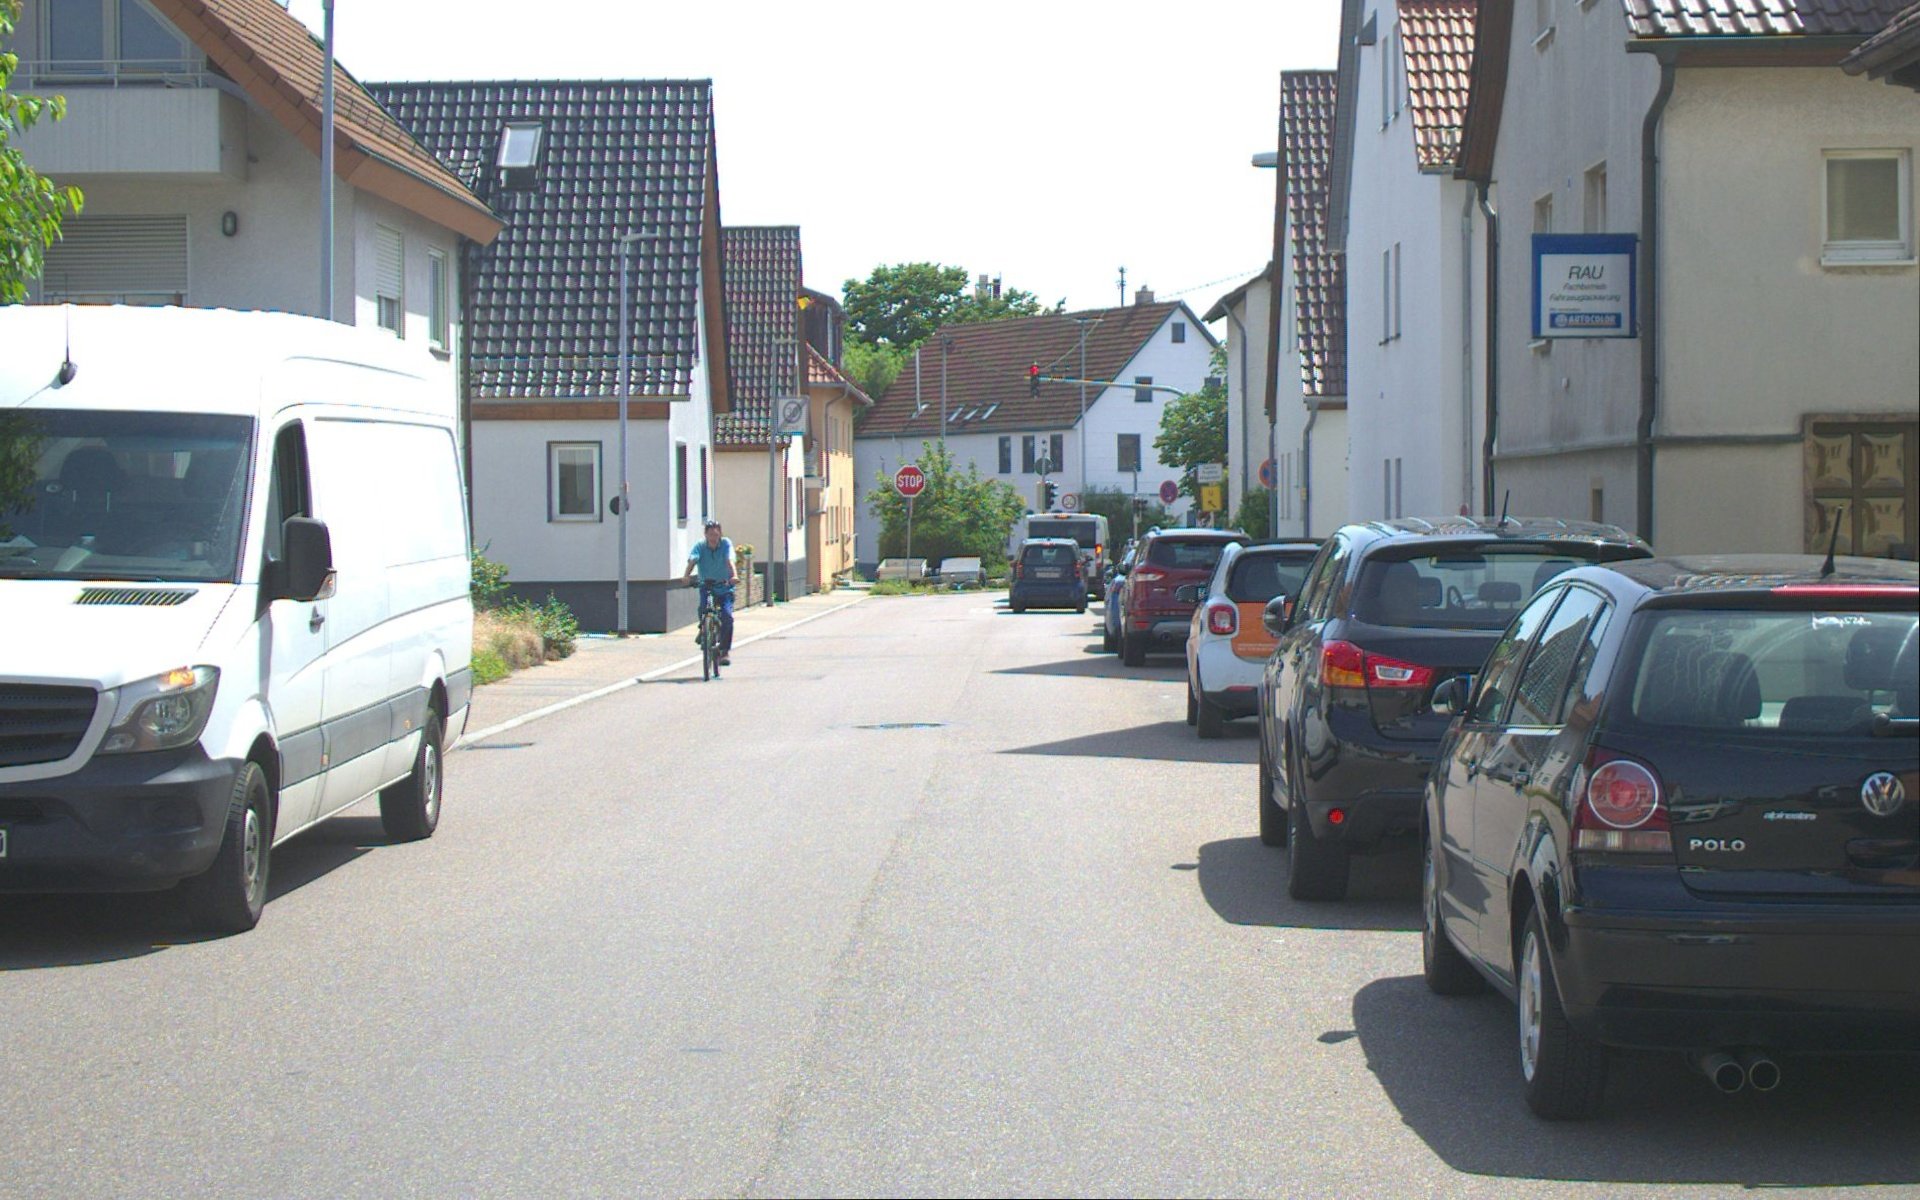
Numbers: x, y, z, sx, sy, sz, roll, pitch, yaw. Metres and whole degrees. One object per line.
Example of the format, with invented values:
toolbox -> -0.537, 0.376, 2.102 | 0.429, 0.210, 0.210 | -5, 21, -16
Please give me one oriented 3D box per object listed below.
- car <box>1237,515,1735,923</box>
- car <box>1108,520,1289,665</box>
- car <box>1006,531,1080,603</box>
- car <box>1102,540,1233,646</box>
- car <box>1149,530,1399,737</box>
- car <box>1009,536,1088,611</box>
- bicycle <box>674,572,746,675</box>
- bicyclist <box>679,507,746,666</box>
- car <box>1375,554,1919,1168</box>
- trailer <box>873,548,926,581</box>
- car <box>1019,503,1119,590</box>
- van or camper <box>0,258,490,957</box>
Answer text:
car -> 2.247, 0.425, 15.716 | 1.728, 1.594, 4.253 | 1, 1, 2
car -> 2.901, -0.130, 42.574 | 1.875, 1.694, 4.183 | 1, 1, -1
car -> 1.933, -0.783, 78.952 | 1.516, 1.619, 3.184 | 0, 1, 5
car -> 2.910, -0.138, 48.864 | 1.763, 1.419, 4.592 | 0, 1, 2
car -> 2.471, 0.227, 27.653 | 1.673, 1.553, 3.040 | 1, 1, -1
car -> 1.924, -0.592, 73.717 | 1.516, 1.561, 3.184 | 0, 1, 5
bicycle -> -2.857, 0.251, 39.427 | 0.670, 1.128, 2.189 | 0, 1, 0
bicyclist -> -2.829, -0.165, 39.333 | 0.713, 1.792, 0.942 | 0, 1, -1
car -> 2.250, 0.602, 10.077 | 1.610, 1.426, 3.754 | 1, 1, 0
trailer -> -1.816, -1.073, 103.769 | 1.502, 0.924, 1.012 | 2, 1, 3
car -> 2.818, -1.384, 87.976 | 2.129, 2.151, 4.735 | 0, 1, 7
van or camper -> -3.812, -0.052, 16.069 | 2.184, 2.563, 6.807 | 1, 1, 1
